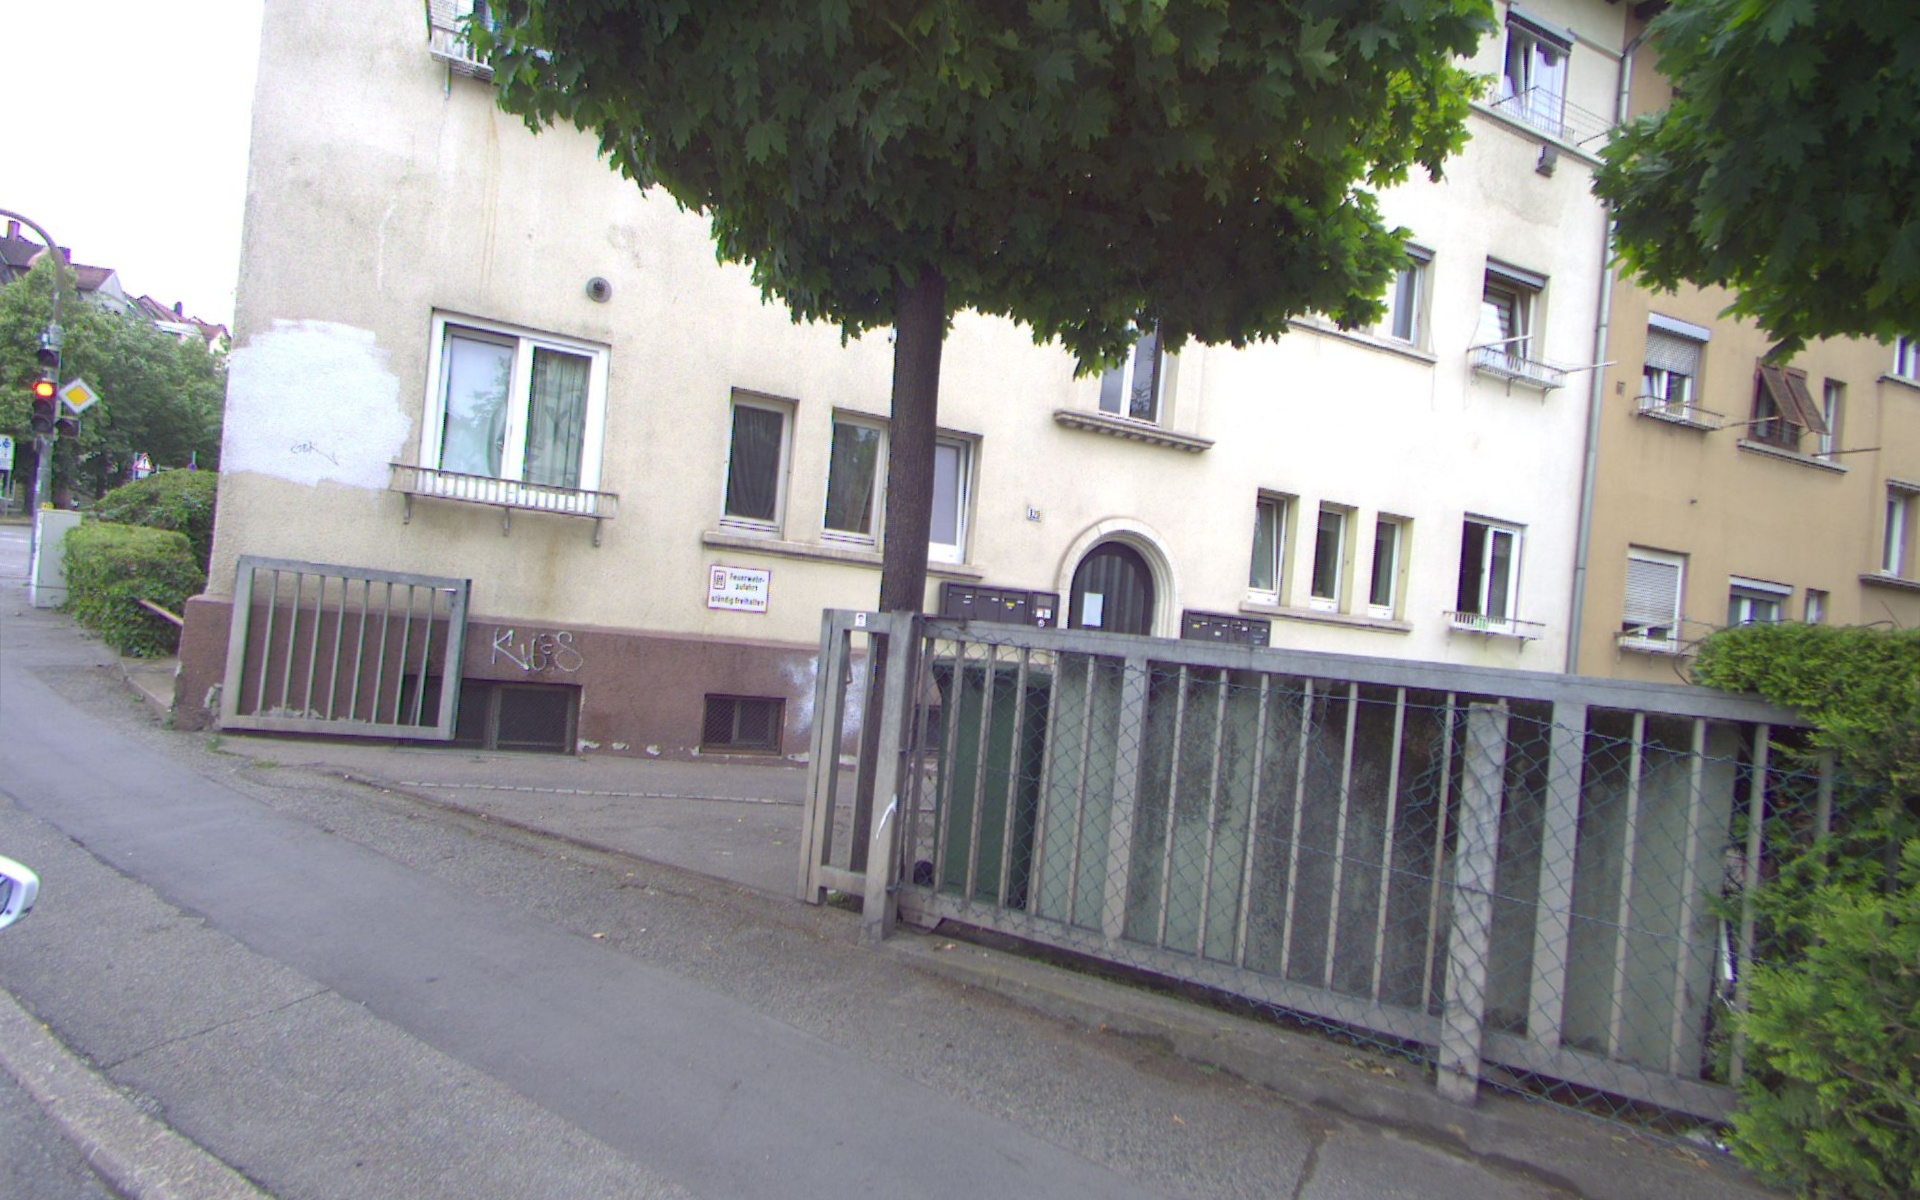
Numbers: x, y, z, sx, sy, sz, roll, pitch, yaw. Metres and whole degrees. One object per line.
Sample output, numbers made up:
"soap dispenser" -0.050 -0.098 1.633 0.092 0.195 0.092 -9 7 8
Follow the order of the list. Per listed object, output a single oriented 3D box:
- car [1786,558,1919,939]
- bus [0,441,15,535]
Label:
"car" 5.539 0.795 3.784 3.381 1.477 1.700 6 -2 30
"bus" -38.542 -4.481 32.667 11.932 3.135 3.165 6 0 -4
